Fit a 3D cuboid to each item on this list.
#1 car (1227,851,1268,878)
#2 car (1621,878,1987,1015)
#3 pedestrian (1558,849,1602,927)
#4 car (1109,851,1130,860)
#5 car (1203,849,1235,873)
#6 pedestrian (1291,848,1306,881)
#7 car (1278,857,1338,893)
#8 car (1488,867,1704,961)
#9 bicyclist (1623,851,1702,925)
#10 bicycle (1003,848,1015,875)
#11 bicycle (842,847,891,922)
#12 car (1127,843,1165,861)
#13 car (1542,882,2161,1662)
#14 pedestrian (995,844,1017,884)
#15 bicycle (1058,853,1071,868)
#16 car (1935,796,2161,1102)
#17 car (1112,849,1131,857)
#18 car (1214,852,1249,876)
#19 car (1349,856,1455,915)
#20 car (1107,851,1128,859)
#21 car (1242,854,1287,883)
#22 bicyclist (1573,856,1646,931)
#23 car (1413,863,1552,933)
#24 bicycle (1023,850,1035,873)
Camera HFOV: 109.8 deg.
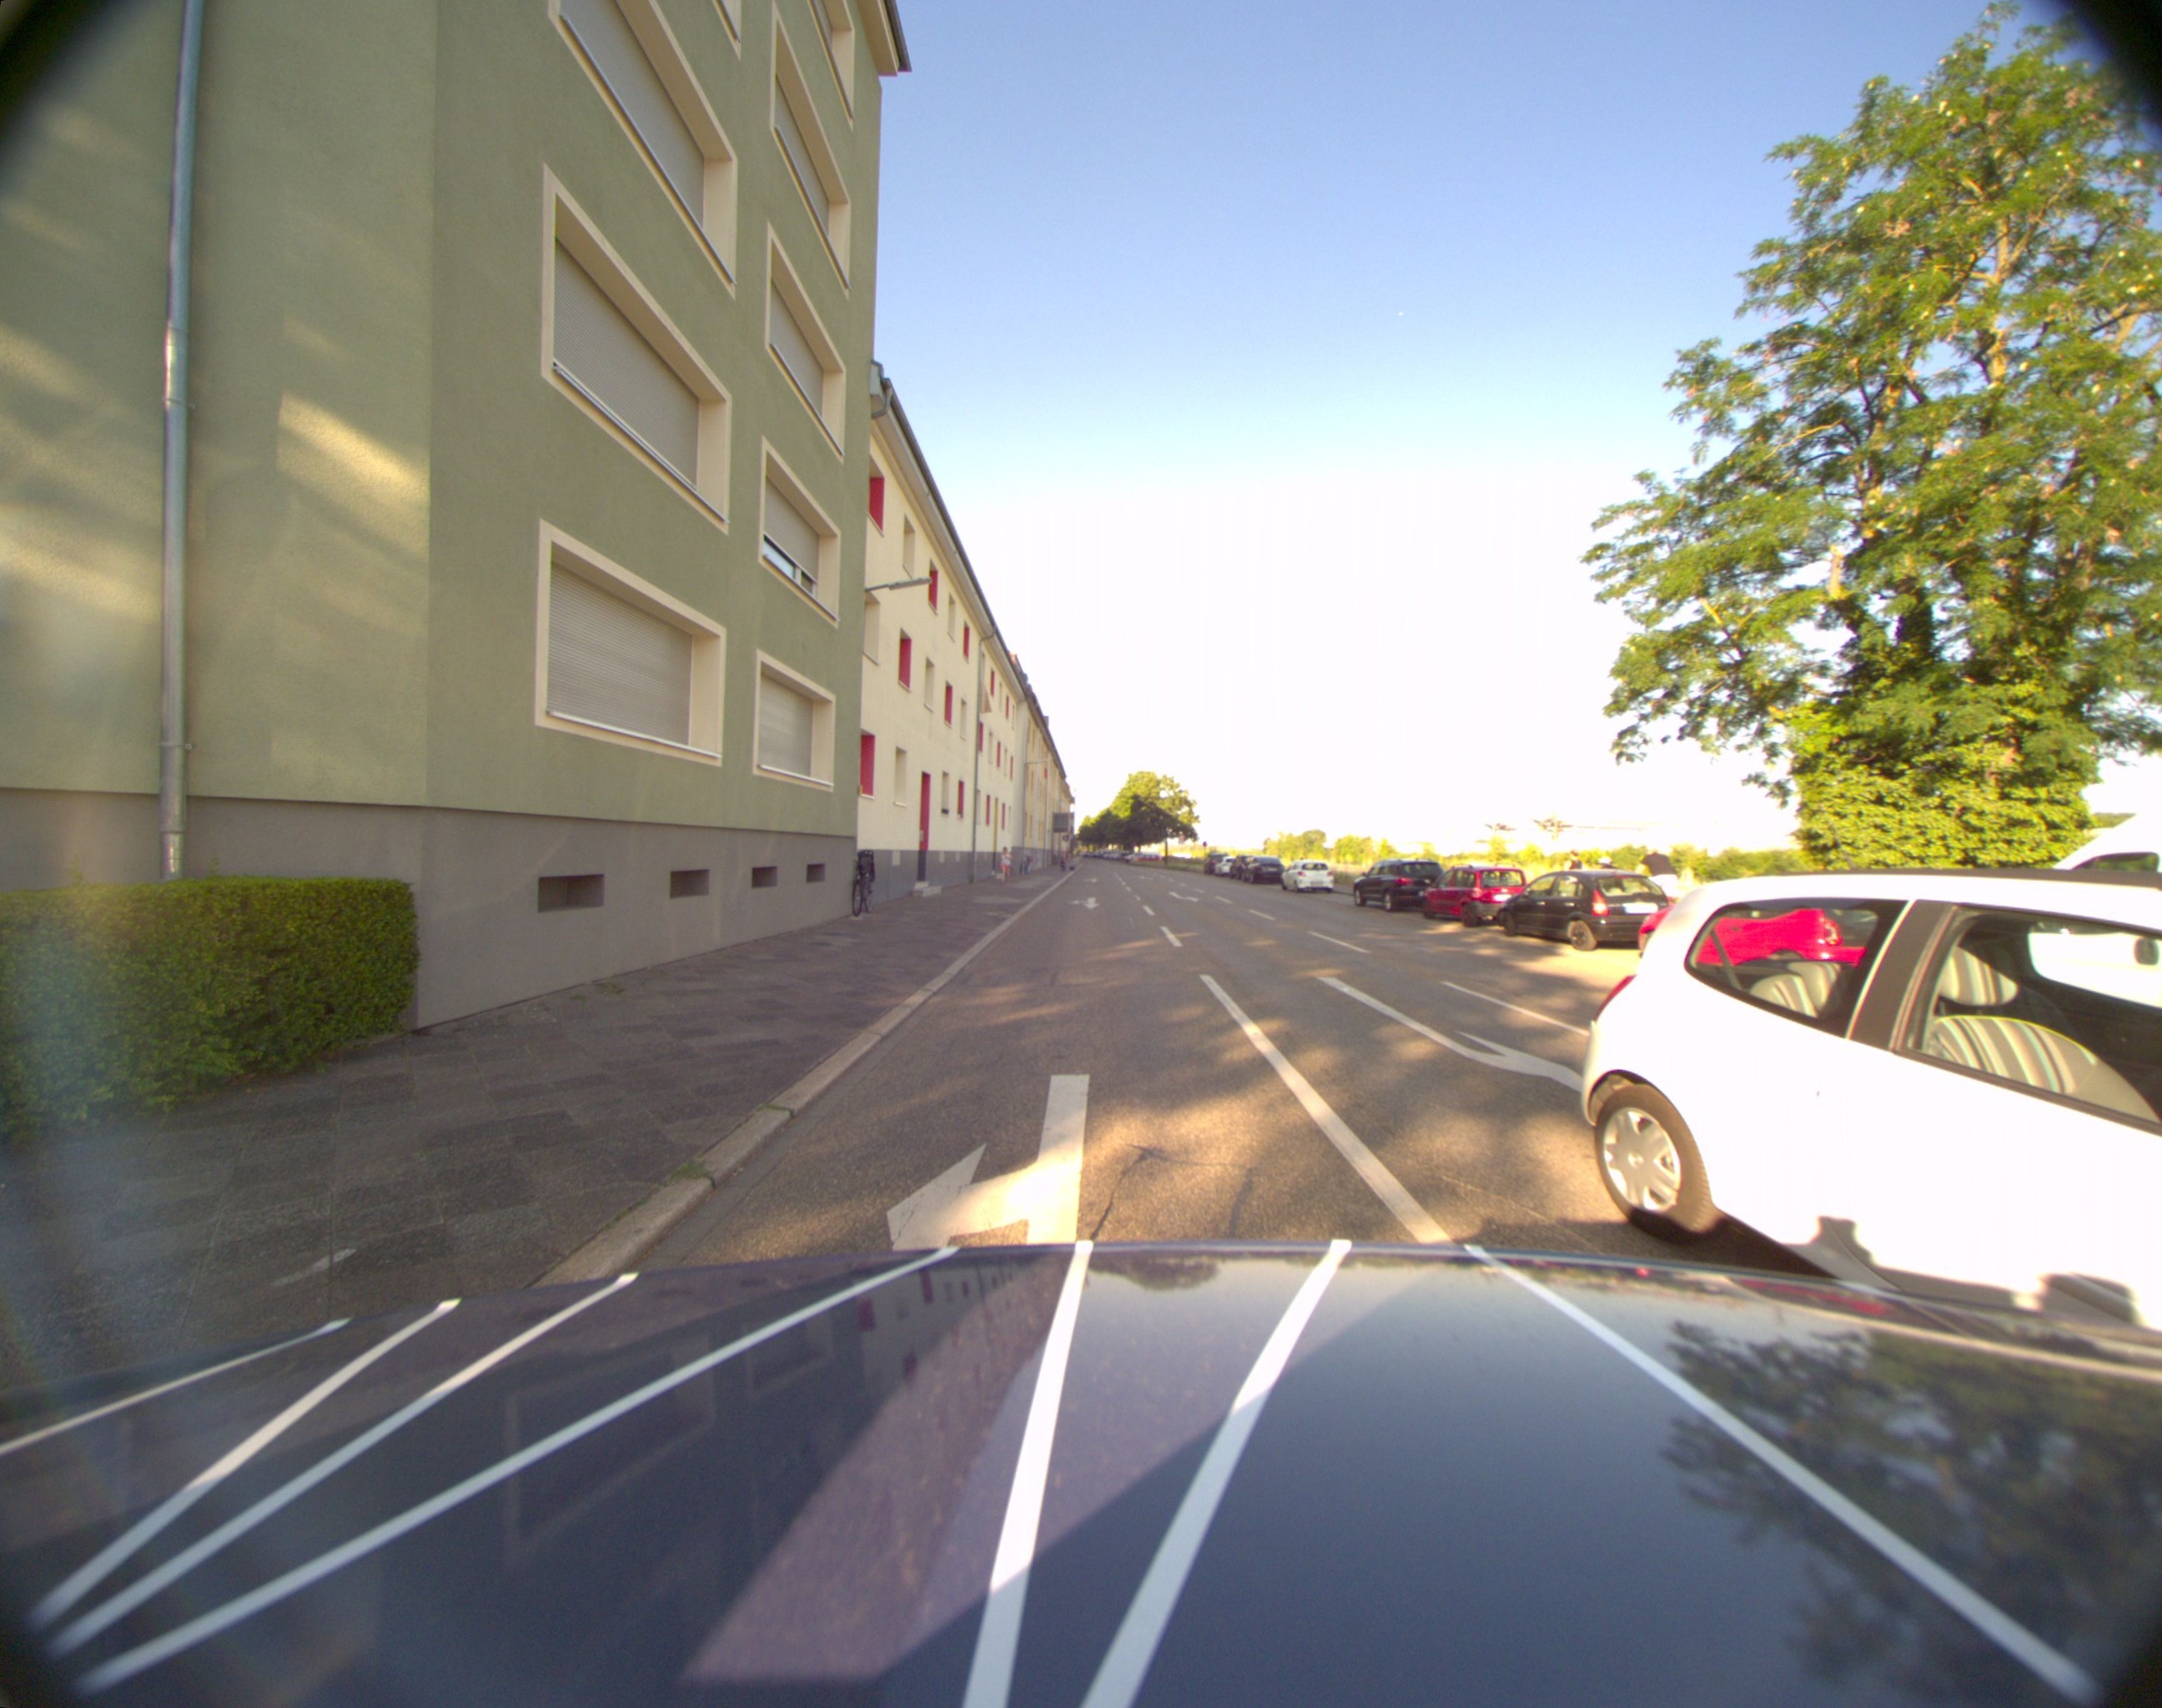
[{"bbox_3d":[10.849,0.682,49.710,1.823,1.628,4.220,2,1,2],"label":"car"},{"bbox_3d":[10.067,1.177,11.049,1.745,1.478,3.694,2,1,0],"label":"car"},{"bbox_3d":[13.152,0.880,20.042,0.615,2.002,0.730,2,1,-1],"label":"pedestrian"},{"bbox_3d":[7.491,0.257,149.741,3.997,1.708,2.000,2,1,-1],"label":"car"},{"bbox_3d":[11.004,0.524,60.988,1.890,1.765,4.220,2,1,2],"label":"car"},{"bbox_3d":[13.591,0.651,47.479,0.706,2.002,0.710,2,1,2],"label":"pedestrian"},{"bbox_3d":[10.411,0.920,35.077,1.706,1.517,3.583,2,1,1],"label":"car"},{"bbox_3d":[10.169,1.104,15.419,1.745,1.521,3.816,2,1,0],"label":"car"},{"bbox_3d":[13.109,0.734,17.172,0.866,1.587,1.146,2,1,1],"label":"bicyclist"},{"bbox_3d":[-3.932,0.383,41.382,0.517,1.404,1.873,2,1,-3],"label":"bicycle"},{"bbox_3d":[-4.310,0.576,15.378,0.517,1.404,1.873,2,1,-3],"label":"bicycle"},{"bbox_3d":[9.524,-0.296,112.249,5.322,2.398,2.266,-2,1,0],"label":"car"},{"bbox_3d":[3.012,0.894,1.616,1.705,1.460,3.775,2,1,-1],"label":"car"},{"bbox_3d":[-3.260,0.435,32.969,0.787,1.697,0.950,3,1,1],"label":"pedestrian"},{"bbox_3d":[-1.247,0.492,56.849,0.651,1.091,2.201,1,1,-8],"label":"bicycle"},{"bbox_3d":[9.687,0.746,4.827,2.235,2.422,5.559,-1,1,-1],"label":"car"},{"bbox_3d":[9.200,-0.217,173.172,3.997,1.708,2.000,2,1,-1],"label":"car"},{"bbox_3d":[10.855,0.707,55.103,1.823,1.565,4.220,2,0,2],"label":"car"},{"bbox_3d":[10.141,0.948,24.356,1.664,1.649,4.005,2,1,0],"label":"car"},{"bbox_3d":[7.423,0.198,155.323,3.997,1.708,2.000,2,1,-1],"label":"car"},{"bbox_3d":[10.572,0.812,44.010,1.823,1.517,4.291,2,0,5],"label":"car"},{"bbox_3d":[11.664,0.849,16.814,0.768,1.587,1.146,2,1,0],"label":"bicyclist"},{"bbox_3d":[10.263,1.062,19.735,1.664,1.521,3.579,2,1,0],"label":"car"},{"bbox_3d":[-3.162,0.434,46.314,0.517,1.318,2.210,2,1,2],"label":"bicycle"}]
